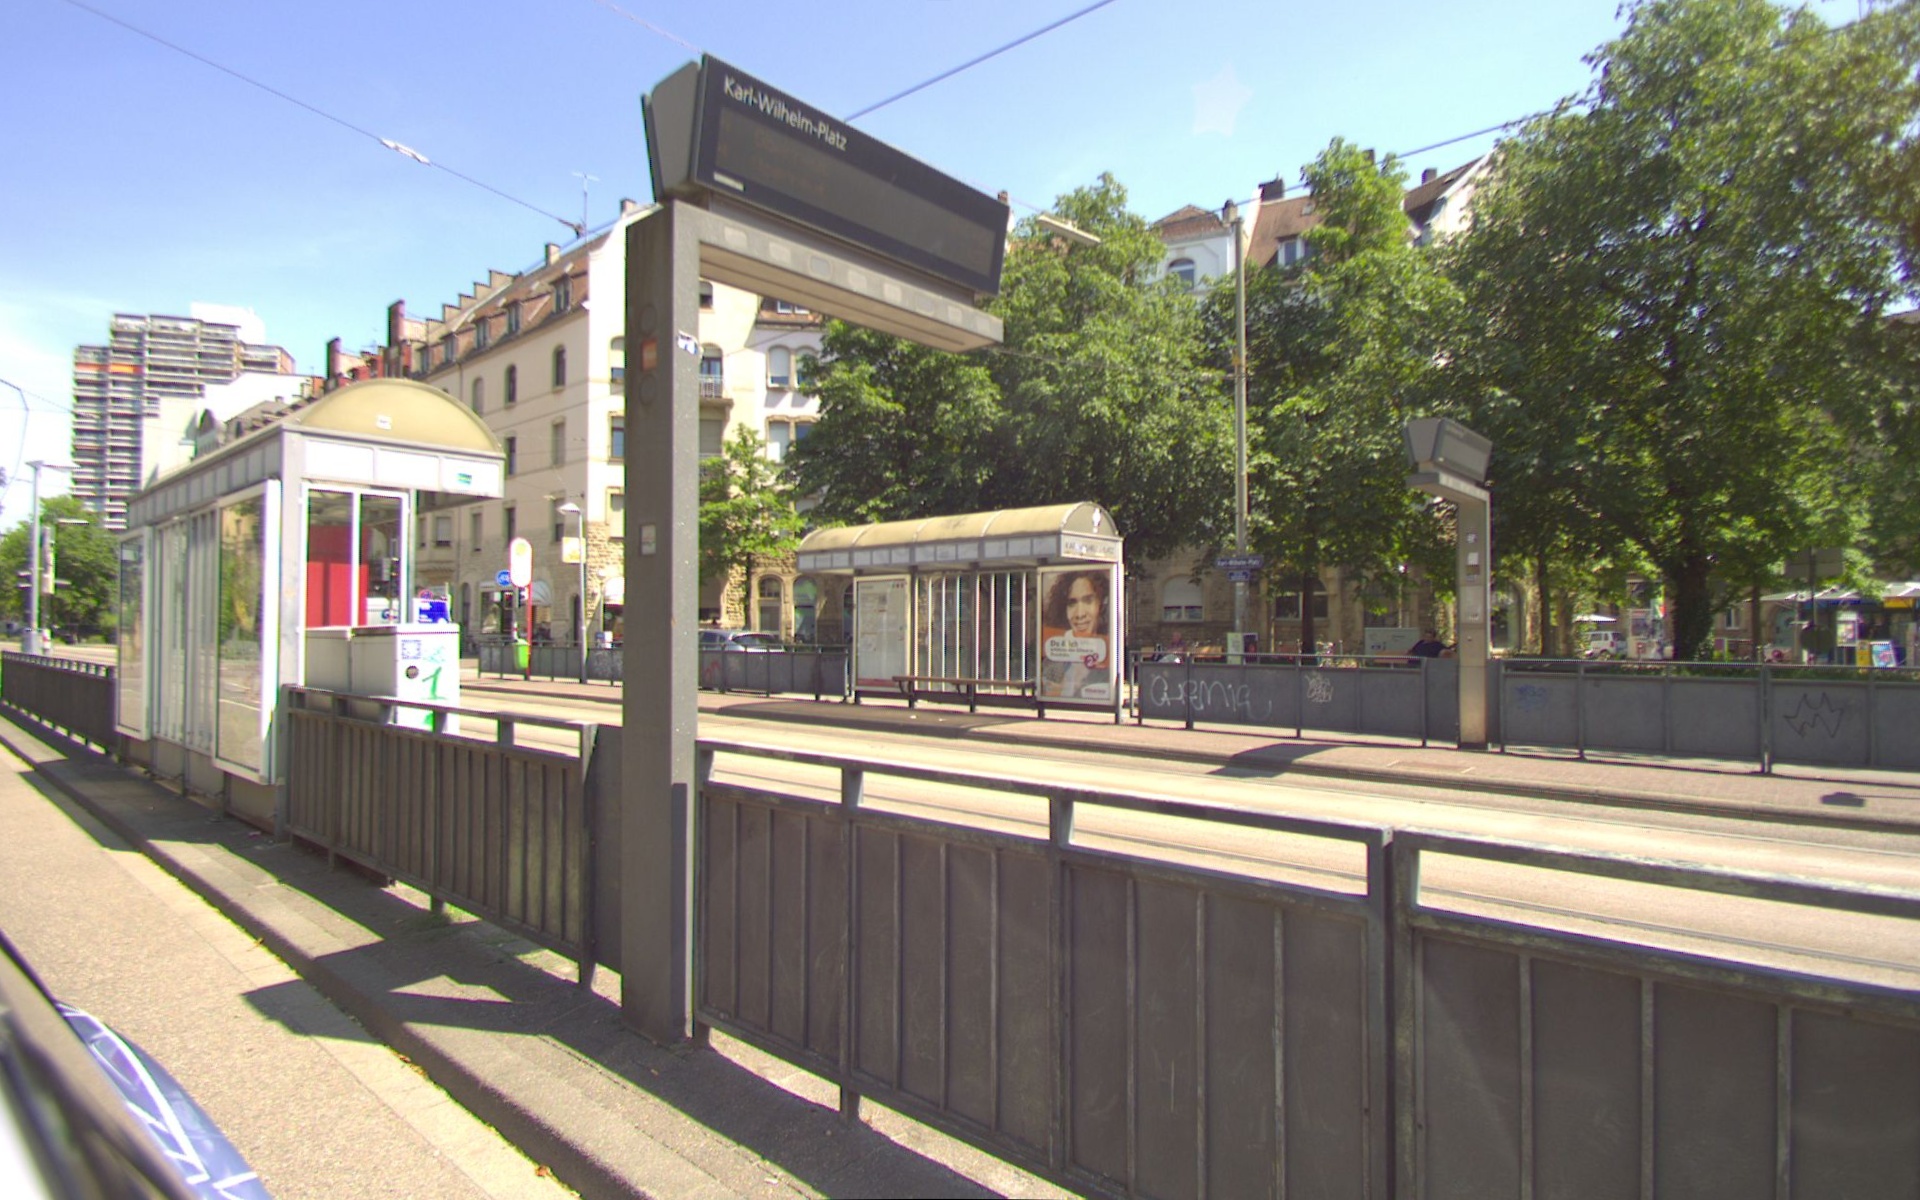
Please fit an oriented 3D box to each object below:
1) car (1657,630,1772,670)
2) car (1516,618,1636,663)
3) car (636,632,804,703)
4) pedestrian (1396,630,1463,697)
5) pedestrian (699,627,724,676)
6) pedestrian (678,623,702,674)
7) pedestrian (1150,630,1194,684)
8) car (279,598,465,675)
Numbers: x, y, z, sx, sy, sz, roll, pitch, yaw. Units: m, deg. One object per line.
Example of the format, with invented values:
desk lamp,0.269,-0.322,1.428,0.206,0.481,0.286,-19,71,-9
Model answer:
car,35.792,2.344,48.099,1.736,1.721,3.998,-1,0,-33
car,26.723,1.700,44.007,1.966,1.803,4.011,-1,0,-33
car,-5.594,1.487,23.359,3.998,1.404,1.789,-1,0,41
pedestrian,9.286,1.237,20.038,0.852,1.253,0.939,-1,0,-43
pedestrian,-7.979,1.657,32.492,0.473,1.563,0.586,-2,-3,39
pedestrian,-8.823,1.569,33.021,0.473,1.659,0.586,-2,-3,41
pedestrian,5.097,1.354,24.313,0.930,1.253,0.860,-1,0,17
car,-21.453,1.316,37.037,5.761,2.693,2.268,-1,0,9
